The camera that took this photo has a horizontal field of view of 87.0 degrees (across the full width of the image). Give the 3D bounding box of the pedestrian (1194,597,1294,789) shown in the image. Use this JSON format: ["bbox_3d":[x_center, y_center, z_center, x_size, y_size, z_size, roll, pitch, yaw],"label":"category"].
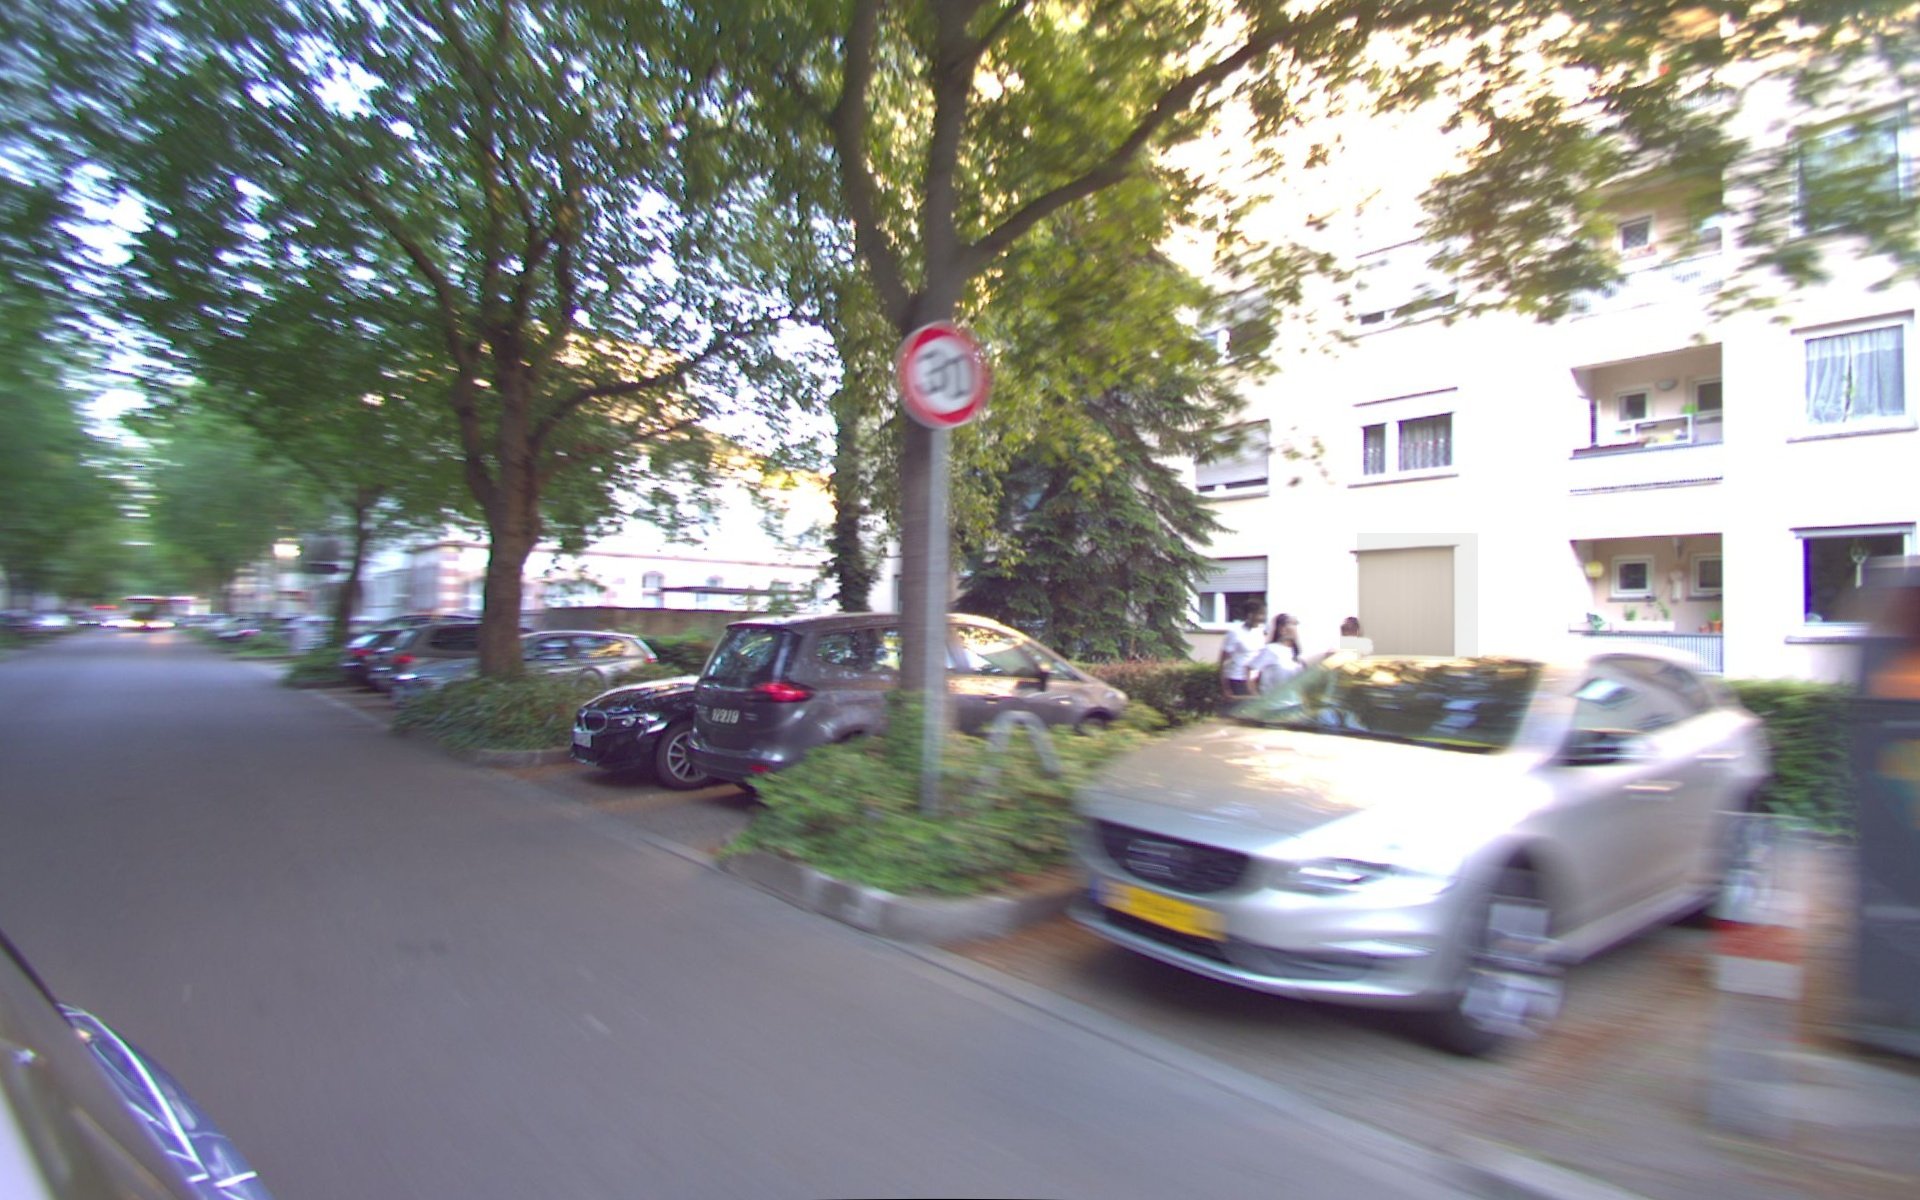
[{"bbox_3d":[2.794,0.889,9.974,0.687,1.802,0.667,2,-3,-35],"label":"pedestrian"}]

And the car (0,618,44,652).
[{"bbox_3d":[-44.498,1.491,45.734,4.299,1.481,1.735,6,-5,-35],"label":"car"}]

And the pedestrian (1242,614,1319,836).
[{"bbox_3d":[2.718,1.028,8.640,0.523,1.802,0.696,0,-2,10],"label":"pedestrian"}]

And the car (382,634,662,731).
[{"bbox_3d":[-7.389,1.311,17.300,4.050,1.390,1.749,1,-2,-42],"label":"car"}]

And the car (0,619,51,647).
[{"bbox_3d":[-54.110,1.775,56.733,4.524,1.481,1.699,5,-4,-38],"label":"car"}]

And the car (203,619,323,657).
[{"bbox_3d":[-33.227,1.834,48.309,4.481,1.695,1.623,3,-3,-44],"label":"car"}]

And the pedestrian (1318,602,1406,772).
[{"bbox_3d":[3.856,0.826,9.734,0.652,1.584,0.448,1,-2,-1],"label":"pedestrian"}]

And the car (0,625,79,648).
[{"bbox_3d":[-61.412,2.438,67.542,3.803,1.409,1.676,5,-5,-43],"label":"car"}]

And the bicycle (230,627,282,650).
[{"bbox_3d":[-32.266,1.759,46.385,1.878,1.033,0.480,3,-3,-41],"label":"bicycle"}]

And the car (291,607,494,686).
[{"bbox_3d":[-14.930,1.194,26.742,4.363,1.906,2.003,1,-2,-41],"label":"car"}]

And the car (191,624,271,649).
[{"bbox_3d":[-46.122,2.297,64.082,4.000,1.539,1.625,1,-2,-37],"label":"car"}]

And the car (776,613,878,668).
[{"bbox_3d":[-5.090,1.550,38.279,1.759,1.971,4.423,2,-4,-40],"label":"car"}]

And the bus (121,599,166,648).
[{"bbox_3d":[-71.775,2.099,88.932,2.790,4.141,7.845,3,-3,-40],"label":"bus"}]

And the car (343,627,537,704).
[{"bbox_3d":[-11.088,1.357,21.677,3.363,1.518,1.666,2,-3,-42],"label":"car"}]

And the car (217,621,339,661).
[{"bbox_3d":[-28.233,1.696,41.965,3.938,1.600,1.830,2,-3,-42],"label":"car"}]

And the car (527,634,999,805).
[{"bbox_3d":[-1.963,1.108,11.043,4.658,1.435,2.074,2,-2,-42],"label":"car"}]

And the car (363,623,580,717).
[{"bbox_3d":[-9.312,1.282,19.382,3.363,1.621,1.763,2,-3,-42],"label":"car"}]

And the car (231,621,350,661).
[{"bbox_3d":[-27.886,1.694,42.183,3.937,1.604,1.791,2,-2,-40],"label":"car"}]

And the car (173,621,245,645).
[{"bbox_3d":[-59.522,2.611,80.261,4.409,1.772,1.793,3,-3,-43],"label":"car"}]

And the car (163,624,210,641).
[{"bbox_3d":[-81.710,3.451,106.961,3.800,1.645,1.678,5,-4,-39],"label":"car"}]

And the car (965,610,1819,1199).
[{"bbox_3d":[2.388,0.867,5.000,4.441,1.593,2.058,0,-1,-39],"label":"car"}]

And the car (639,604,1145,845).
[{"bbox_3d":[-0.464,0.907,9.398,4.342,1.697,2.067,0,-1,-42],"label":"car"}]

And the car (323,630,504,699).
[{"bbox_3d":[-12.488,1.444,23.218,3.363,1.453,1.596,2,-3,-42],"label":"car"}]

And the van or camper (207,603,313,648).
[{"bbox_3d":[-40.264,1.482,58.262,4.756,2.446,1.948,3,-3,-40],"label":"van or camper"}]
